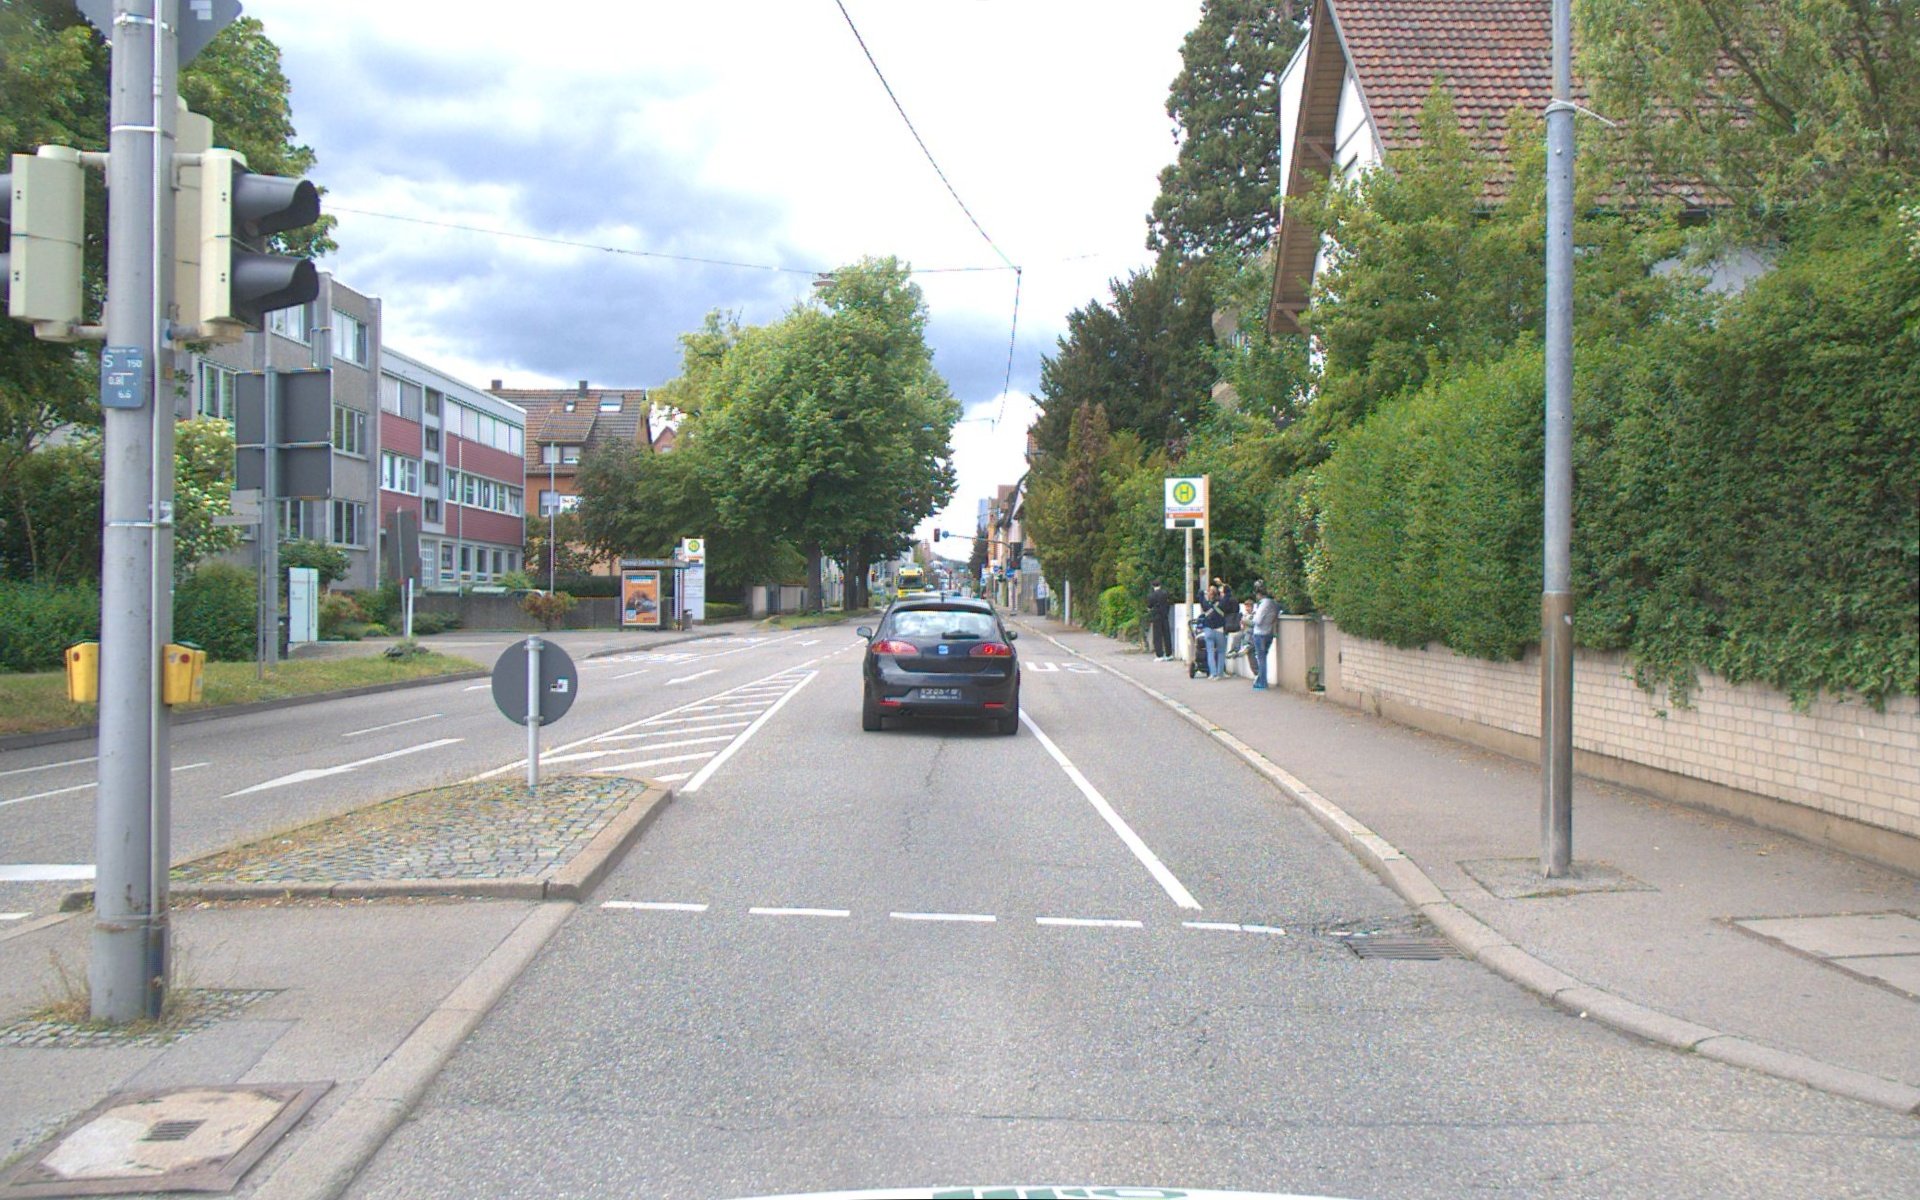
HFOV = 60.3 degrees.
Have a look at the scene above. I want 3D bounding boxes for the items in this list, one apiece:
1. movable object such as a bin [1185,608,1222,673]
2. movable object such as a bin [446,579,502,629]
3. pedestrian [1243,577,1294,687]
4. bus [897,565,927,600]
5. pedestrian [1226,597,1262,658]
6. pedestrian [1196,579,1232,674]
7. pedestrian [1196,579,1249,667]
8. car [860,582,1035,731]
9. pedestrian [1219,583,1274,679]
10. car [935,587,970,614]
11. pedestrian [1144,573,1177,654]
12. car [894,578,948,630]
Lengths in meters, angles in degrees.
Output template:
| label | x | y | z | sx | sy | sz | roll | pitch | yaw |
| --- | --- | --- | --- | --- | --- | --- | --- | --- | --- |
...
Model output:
| label | x | y | z | sx | sy | sz | roll | pitch | yaw |
| --- | --- | --- | --- | --- | --- | --- | --- | --- | --- |
| movable object such as a bin | 4.193 | 0.695 | 28.513 | 0.432 | 1.076 | 0.568 | -3 | 1 | 25 |
| movable object such as a bin | -20.473 | 0.156 | 69.731 | 1.953 | 2.049 | 1.542 | 0 | 0 | -2 |
| pedestrian | 4.577 | 0.473 | 24.580 | 0.533 | 1.582 | 0.470 | -4 | 1 | -9 |
| bus | -4.462 | -1.643 | 154.236 | 2.810 | 3.191 | 6.396 | 0 | 0 | -1 |
| pedestrian | 4.765 | 0.455 | 27.759 | 0.445 | 0.981 | 0.382 | -3 | 1 | -7 |
| pedestrian | 4.244 | 0.440 | 27.618 | 0.538 | 1.543 | 0.362 | -2 | 1 | 8 |
| pedestrian | 4.669 | 0.399 | 29.434 | 0.765 | 1.526 | 0.604 | -2 | 0 | -6 |
| car | -0.234 | 0.567 | 18.896 | 1.725 | 1.474 | 3.711 | 2 | 0 | -4 |
| pedestrian | 4.512 | 0.487 | 26.030 | 0.609 | 1.452 | 0.511 | -3 | 1 | 38 |
| car | -0.457 | -0.010 | 97.711 | 1.903 | 1.507 | 4.251 | -1 | 1 | -3 |
| pedestrian | 4.355 | 0.288 | 35.951 | 0.574 | 1.741 | 0.529 | -2 | 0 | -2 |
| car | -1.340 | 0.112 | 58.400 | 1.781 | 1.729 | 4.253 | -1 | 1 | 0 |
